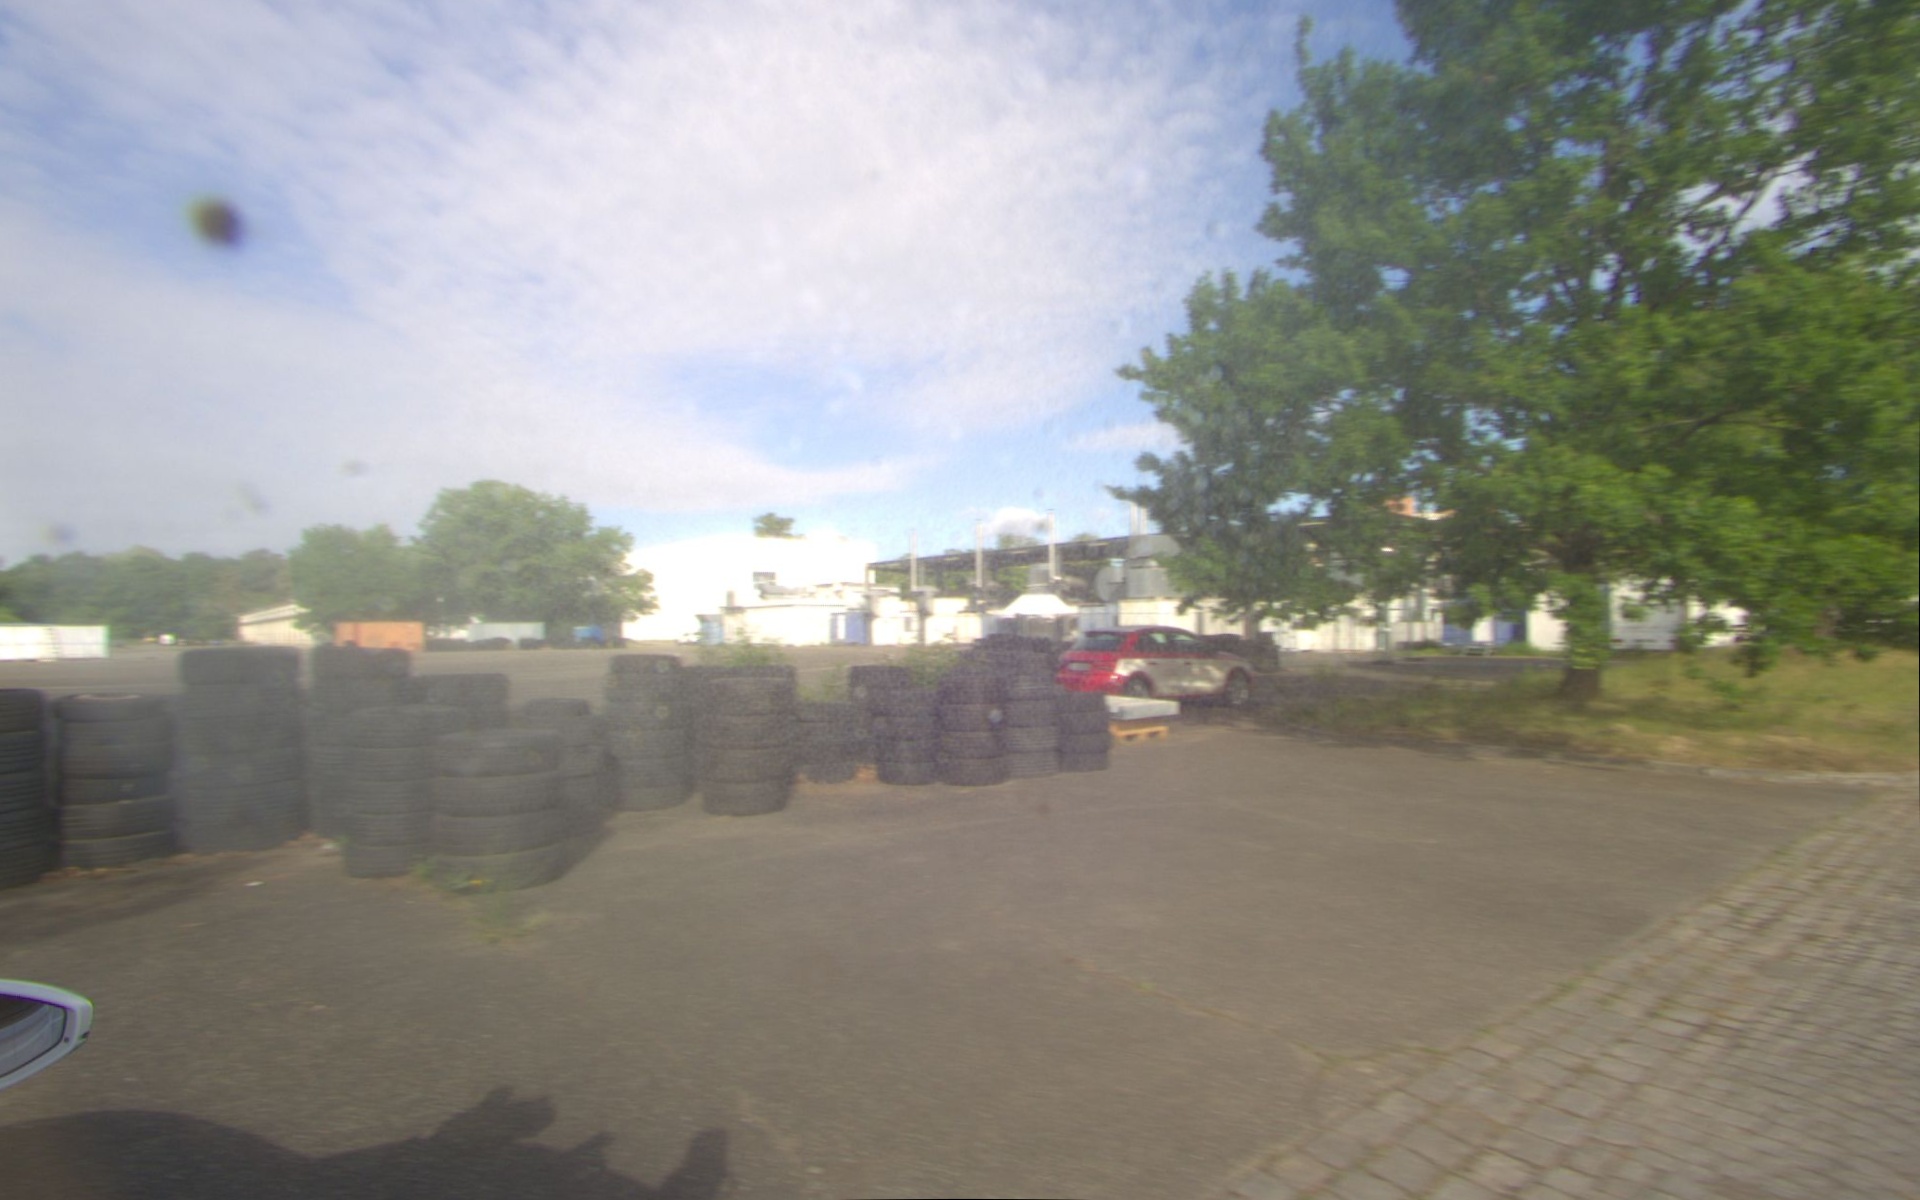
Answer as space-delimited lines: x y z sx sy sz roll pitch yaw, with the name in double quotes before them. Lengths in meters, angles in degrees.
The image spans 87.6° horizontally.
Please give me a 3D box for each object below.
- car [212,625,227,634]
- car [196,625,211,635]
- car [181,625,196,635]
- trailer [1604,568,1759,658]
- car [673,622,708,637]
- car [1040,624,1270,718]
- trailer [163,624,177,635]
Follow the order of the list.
"car" -146.086 5.761 197.439 1.980 1.772 3.963 1 -1 -42
"car" -147.998 5.830 195.798 2.017 1.832 3.963 0 -1 -42
"car" -149.591 5.832 194.189 1.980 1.772 3.963 1 -1 -42
"trailer" 31.275 0.591 43.204 9.785 3.516 2.904 1 -1 -38
"car" -28.923 3.145 107.403 1.855 1.585 4.507 0 -1 -41
"car" 3.489 1.173 17.700 3.947 1.483 1.717 1 -1 -34
"trailer" -152.790 5.697 193.594 2.043 2.040 3.966 1 -1 -41
